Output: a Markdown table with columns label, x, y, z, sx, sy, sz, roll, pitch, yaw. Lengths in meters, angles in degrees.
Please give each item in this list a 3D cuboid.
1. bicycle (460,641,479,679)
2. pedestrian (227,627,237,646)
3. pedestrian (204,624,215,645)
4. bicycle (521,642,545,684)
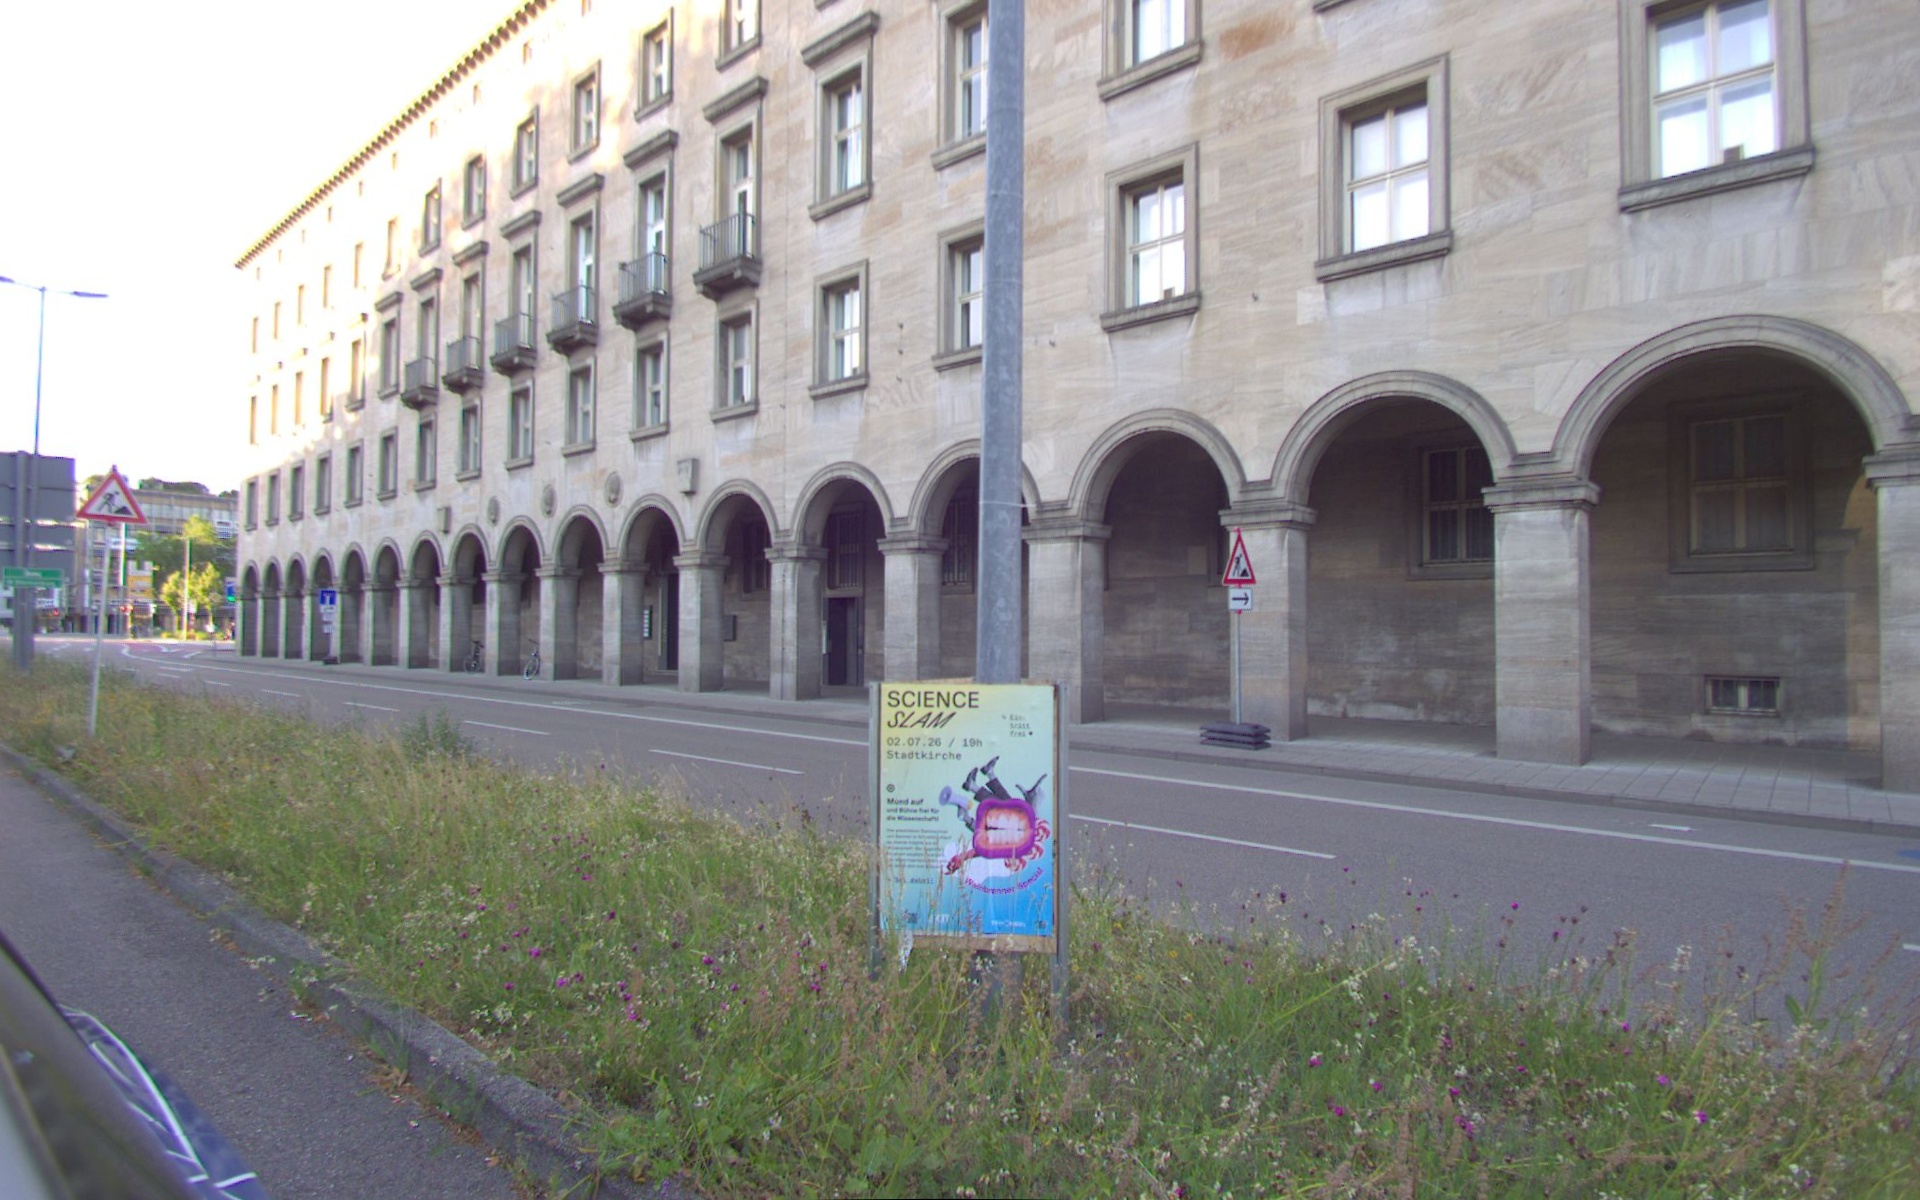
| label | x | y | z | sx | sy | sz | roll | pitch | yaw |
| --- | --- | --- | --- | --- | --- | --- | --- | --- | --- |
| bicycle | -16.088 | 1.944 | 33.219 | 0.505 | 1.188 | 2.431 | 1 | -2 | -25 |
| pedestrian | -61.178 | 3.088 | 85.037 | 0.389 | 1.553 | 0.519 | -2 | -3 | 41 |
| pedestrian | -62.268 | 2.856 | 83.961 | 0.506 | 1.771 | 0.630 | -2 | -3 | 41 |
| bicycle | -12.696 | 1.847 | 30.121 | 0.505 | 1.130 | 2.431 | 1 | -1 | -20 |
